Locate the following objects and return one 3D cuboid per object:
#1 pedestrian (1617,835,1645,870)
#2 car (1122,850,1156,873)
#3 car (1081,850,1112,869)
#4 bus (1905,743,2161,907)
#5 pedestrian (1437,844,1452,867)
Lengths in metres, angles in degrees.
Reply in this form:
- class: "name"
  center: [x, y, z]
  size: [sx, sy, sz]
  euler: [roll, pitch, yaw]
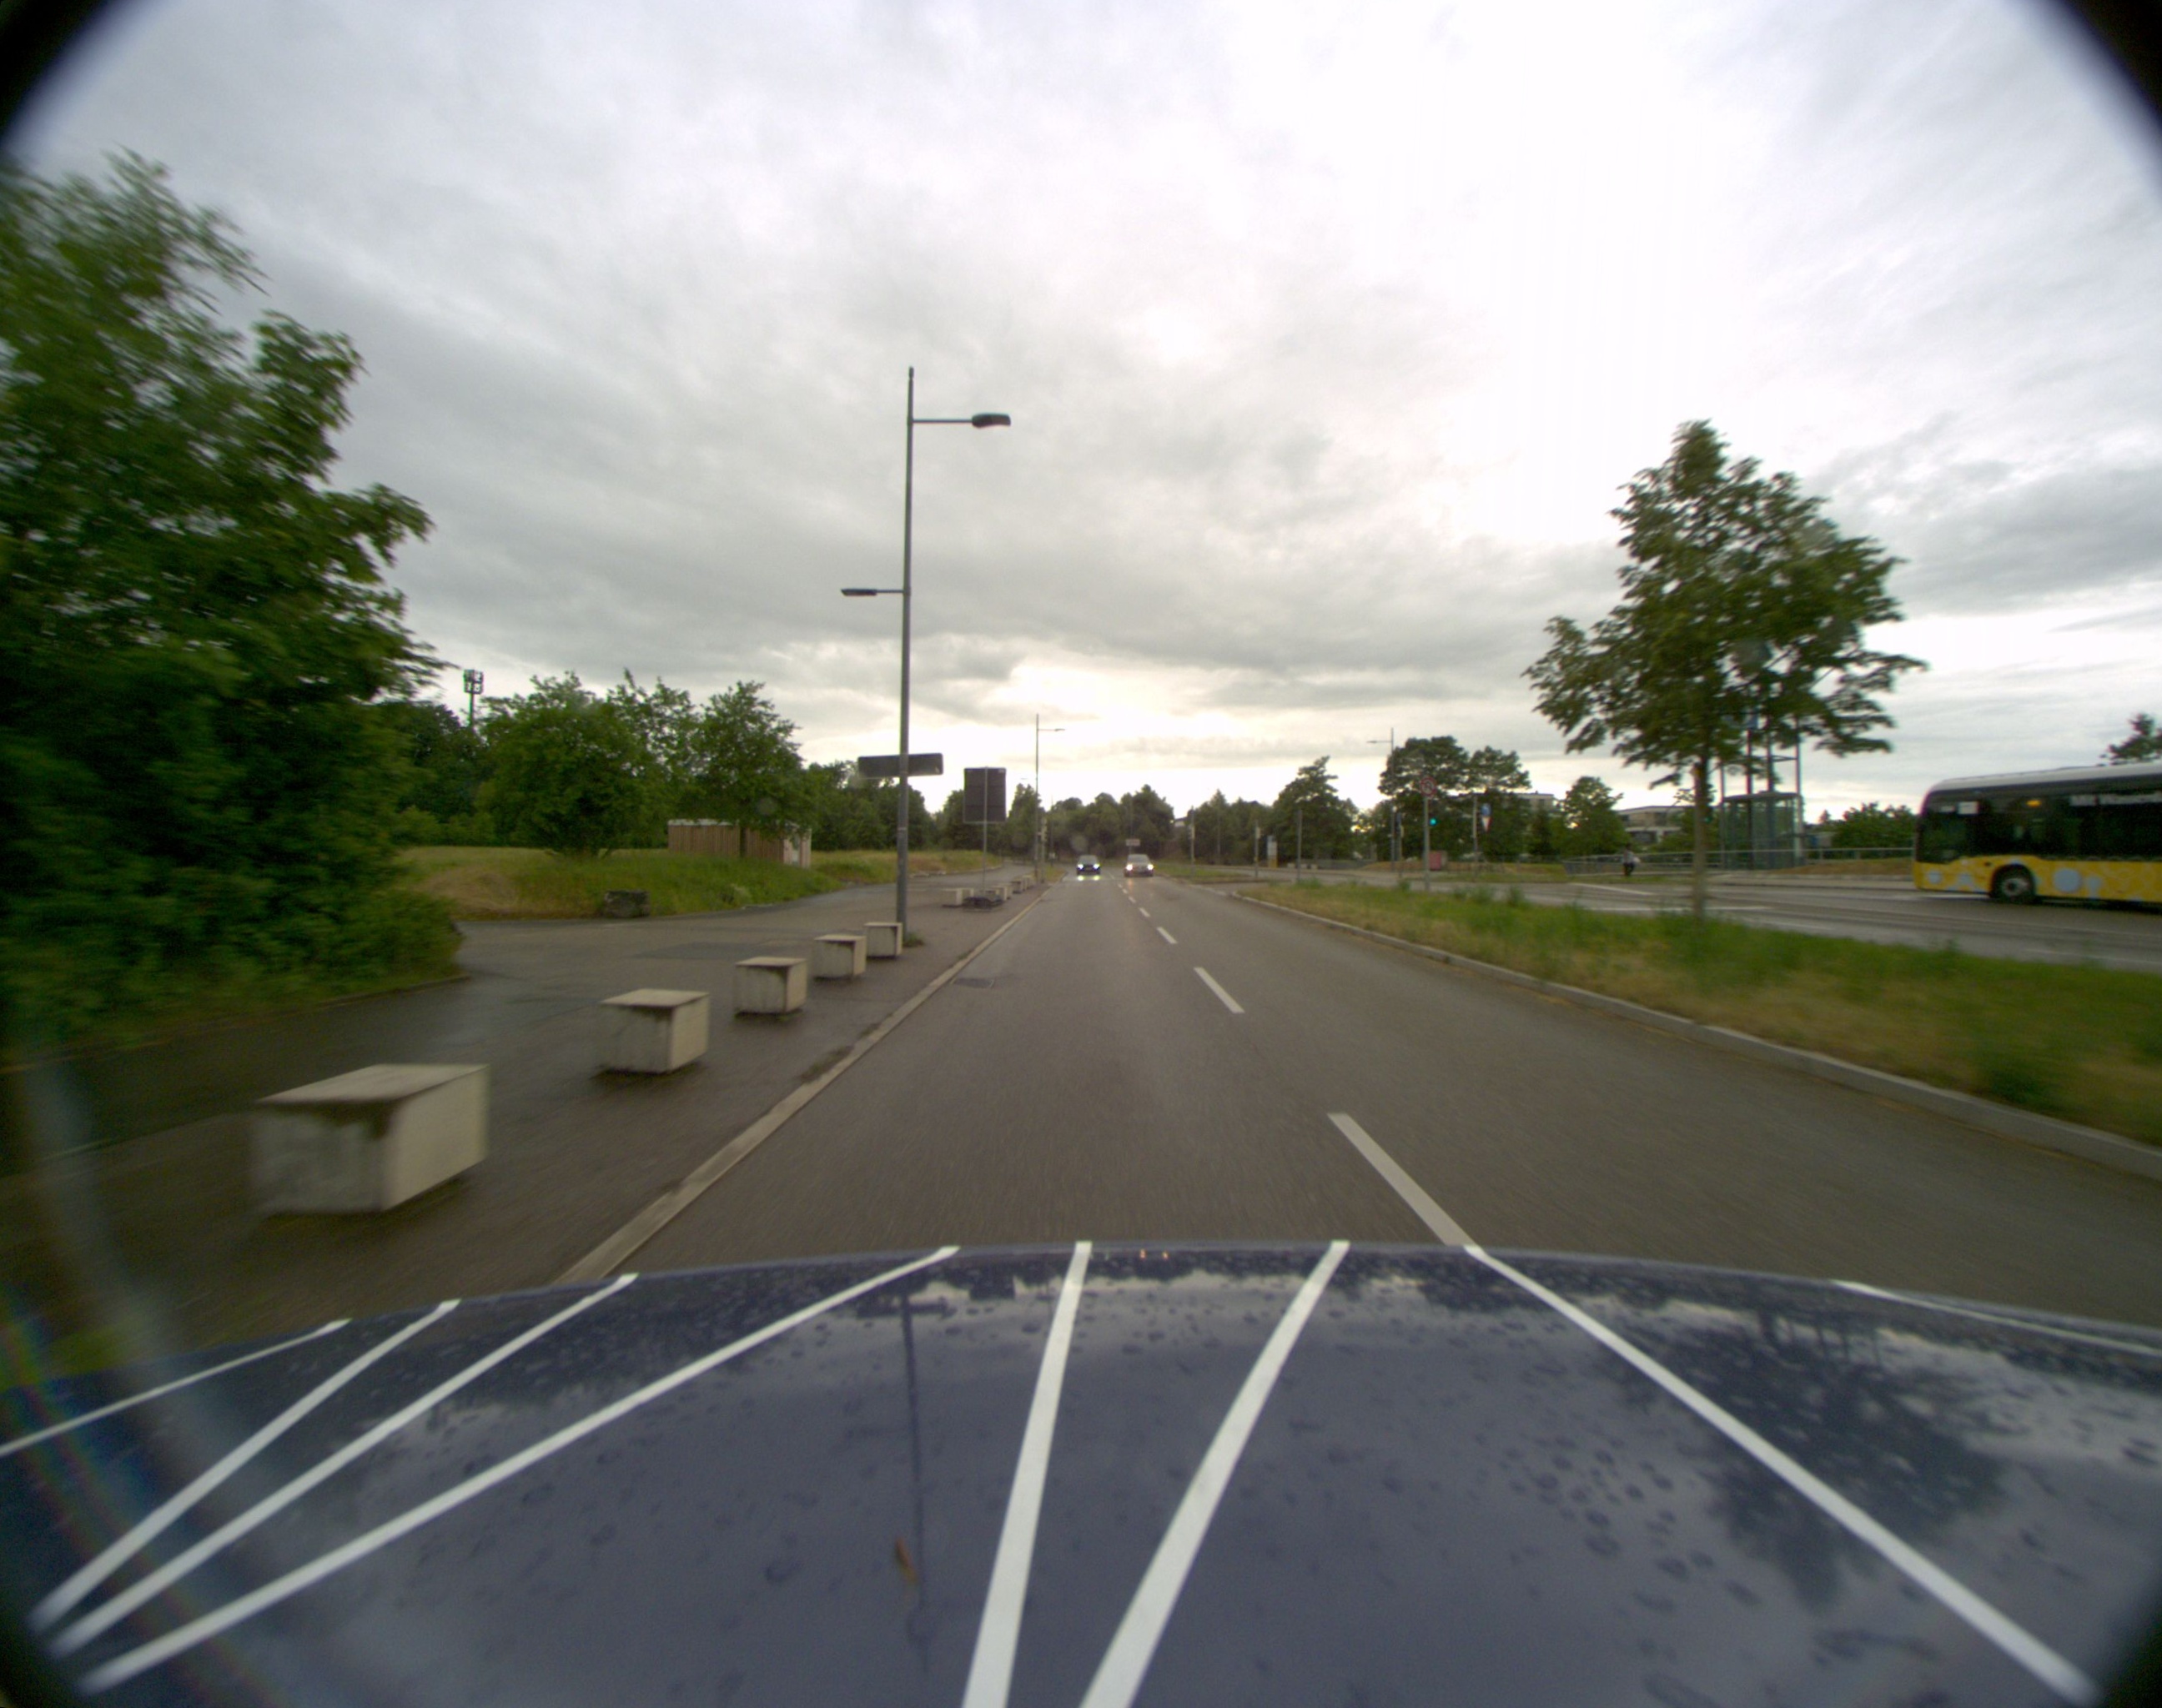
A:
- class: "pedestrian"
  center: [25.581, -0.066, 35.320]
  size: [0.823, 1.584, 0.673]
  euler: [0, -2, -19]
- class: "car"
  center: [3.840, 0.501, 50.725]
  size: [1.810, 1.421, 4.196]
  euler: [-1, 0, -2]
- class: "car"
  center: [1.105, 0.443, 57.526]
  size: [1.990, 1.391, 4.175]
  euler: [-1, -1, -4]
- class: "bus"
  center: [24.347, -0.664, 16.666]
  size: [2.827, 3.452, 9.978]
  euler: [-2, 1, 8]
- class: "pedestrian"
  center: [25.844, 0.122, 54.037]
  size: [0.616, 1.584, 0.812]
  euler: [-1, -1, -4]
